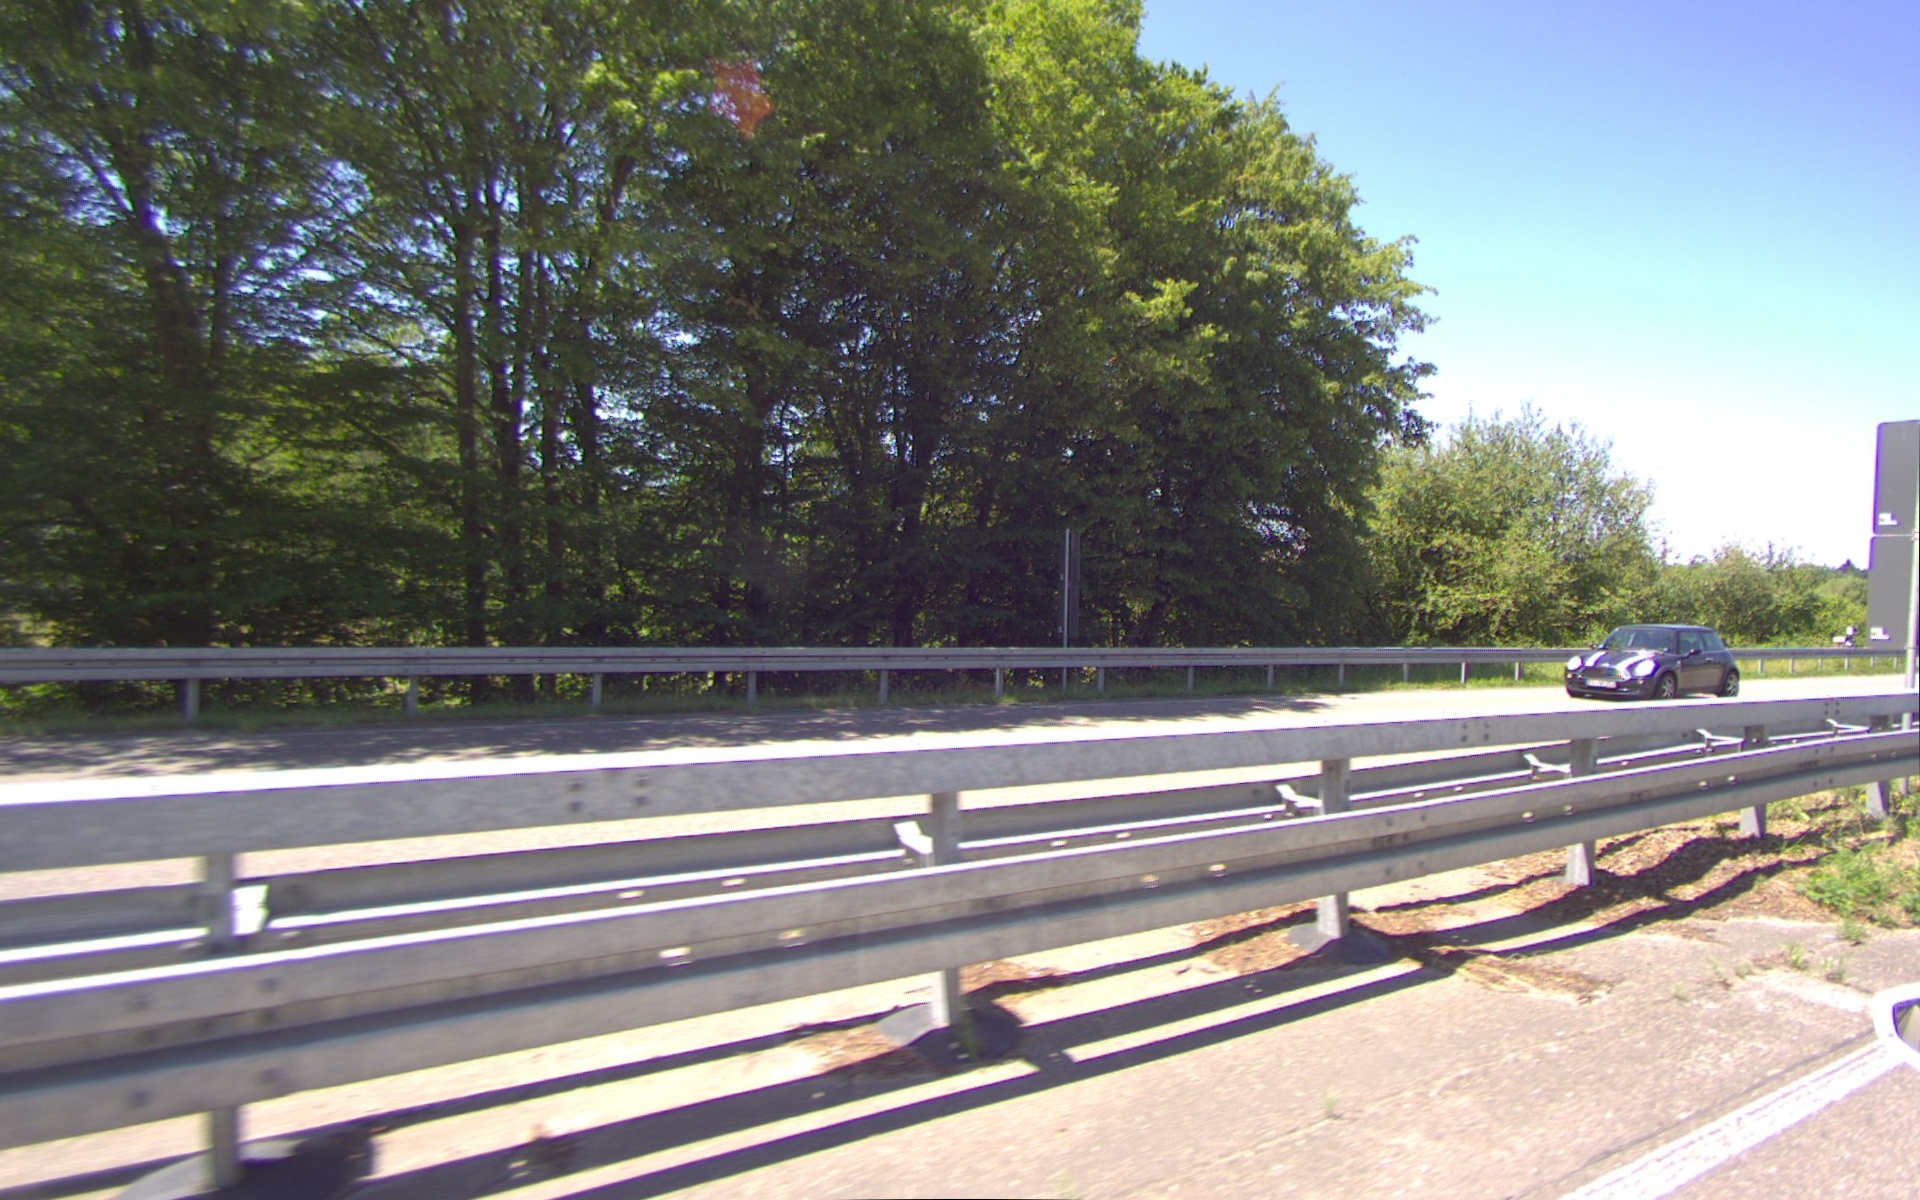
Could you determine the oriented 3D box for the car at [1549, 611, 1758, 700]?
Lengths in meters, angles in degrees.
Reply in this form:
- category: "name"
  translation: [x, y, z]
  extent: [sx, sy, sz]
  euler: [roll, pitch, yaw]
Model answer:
- category: "car"
  translation: [13.124, 0.999, 18.988]
  extent: [3.728, 1.488, 1.789]
  euler: [1, 1, -30]
